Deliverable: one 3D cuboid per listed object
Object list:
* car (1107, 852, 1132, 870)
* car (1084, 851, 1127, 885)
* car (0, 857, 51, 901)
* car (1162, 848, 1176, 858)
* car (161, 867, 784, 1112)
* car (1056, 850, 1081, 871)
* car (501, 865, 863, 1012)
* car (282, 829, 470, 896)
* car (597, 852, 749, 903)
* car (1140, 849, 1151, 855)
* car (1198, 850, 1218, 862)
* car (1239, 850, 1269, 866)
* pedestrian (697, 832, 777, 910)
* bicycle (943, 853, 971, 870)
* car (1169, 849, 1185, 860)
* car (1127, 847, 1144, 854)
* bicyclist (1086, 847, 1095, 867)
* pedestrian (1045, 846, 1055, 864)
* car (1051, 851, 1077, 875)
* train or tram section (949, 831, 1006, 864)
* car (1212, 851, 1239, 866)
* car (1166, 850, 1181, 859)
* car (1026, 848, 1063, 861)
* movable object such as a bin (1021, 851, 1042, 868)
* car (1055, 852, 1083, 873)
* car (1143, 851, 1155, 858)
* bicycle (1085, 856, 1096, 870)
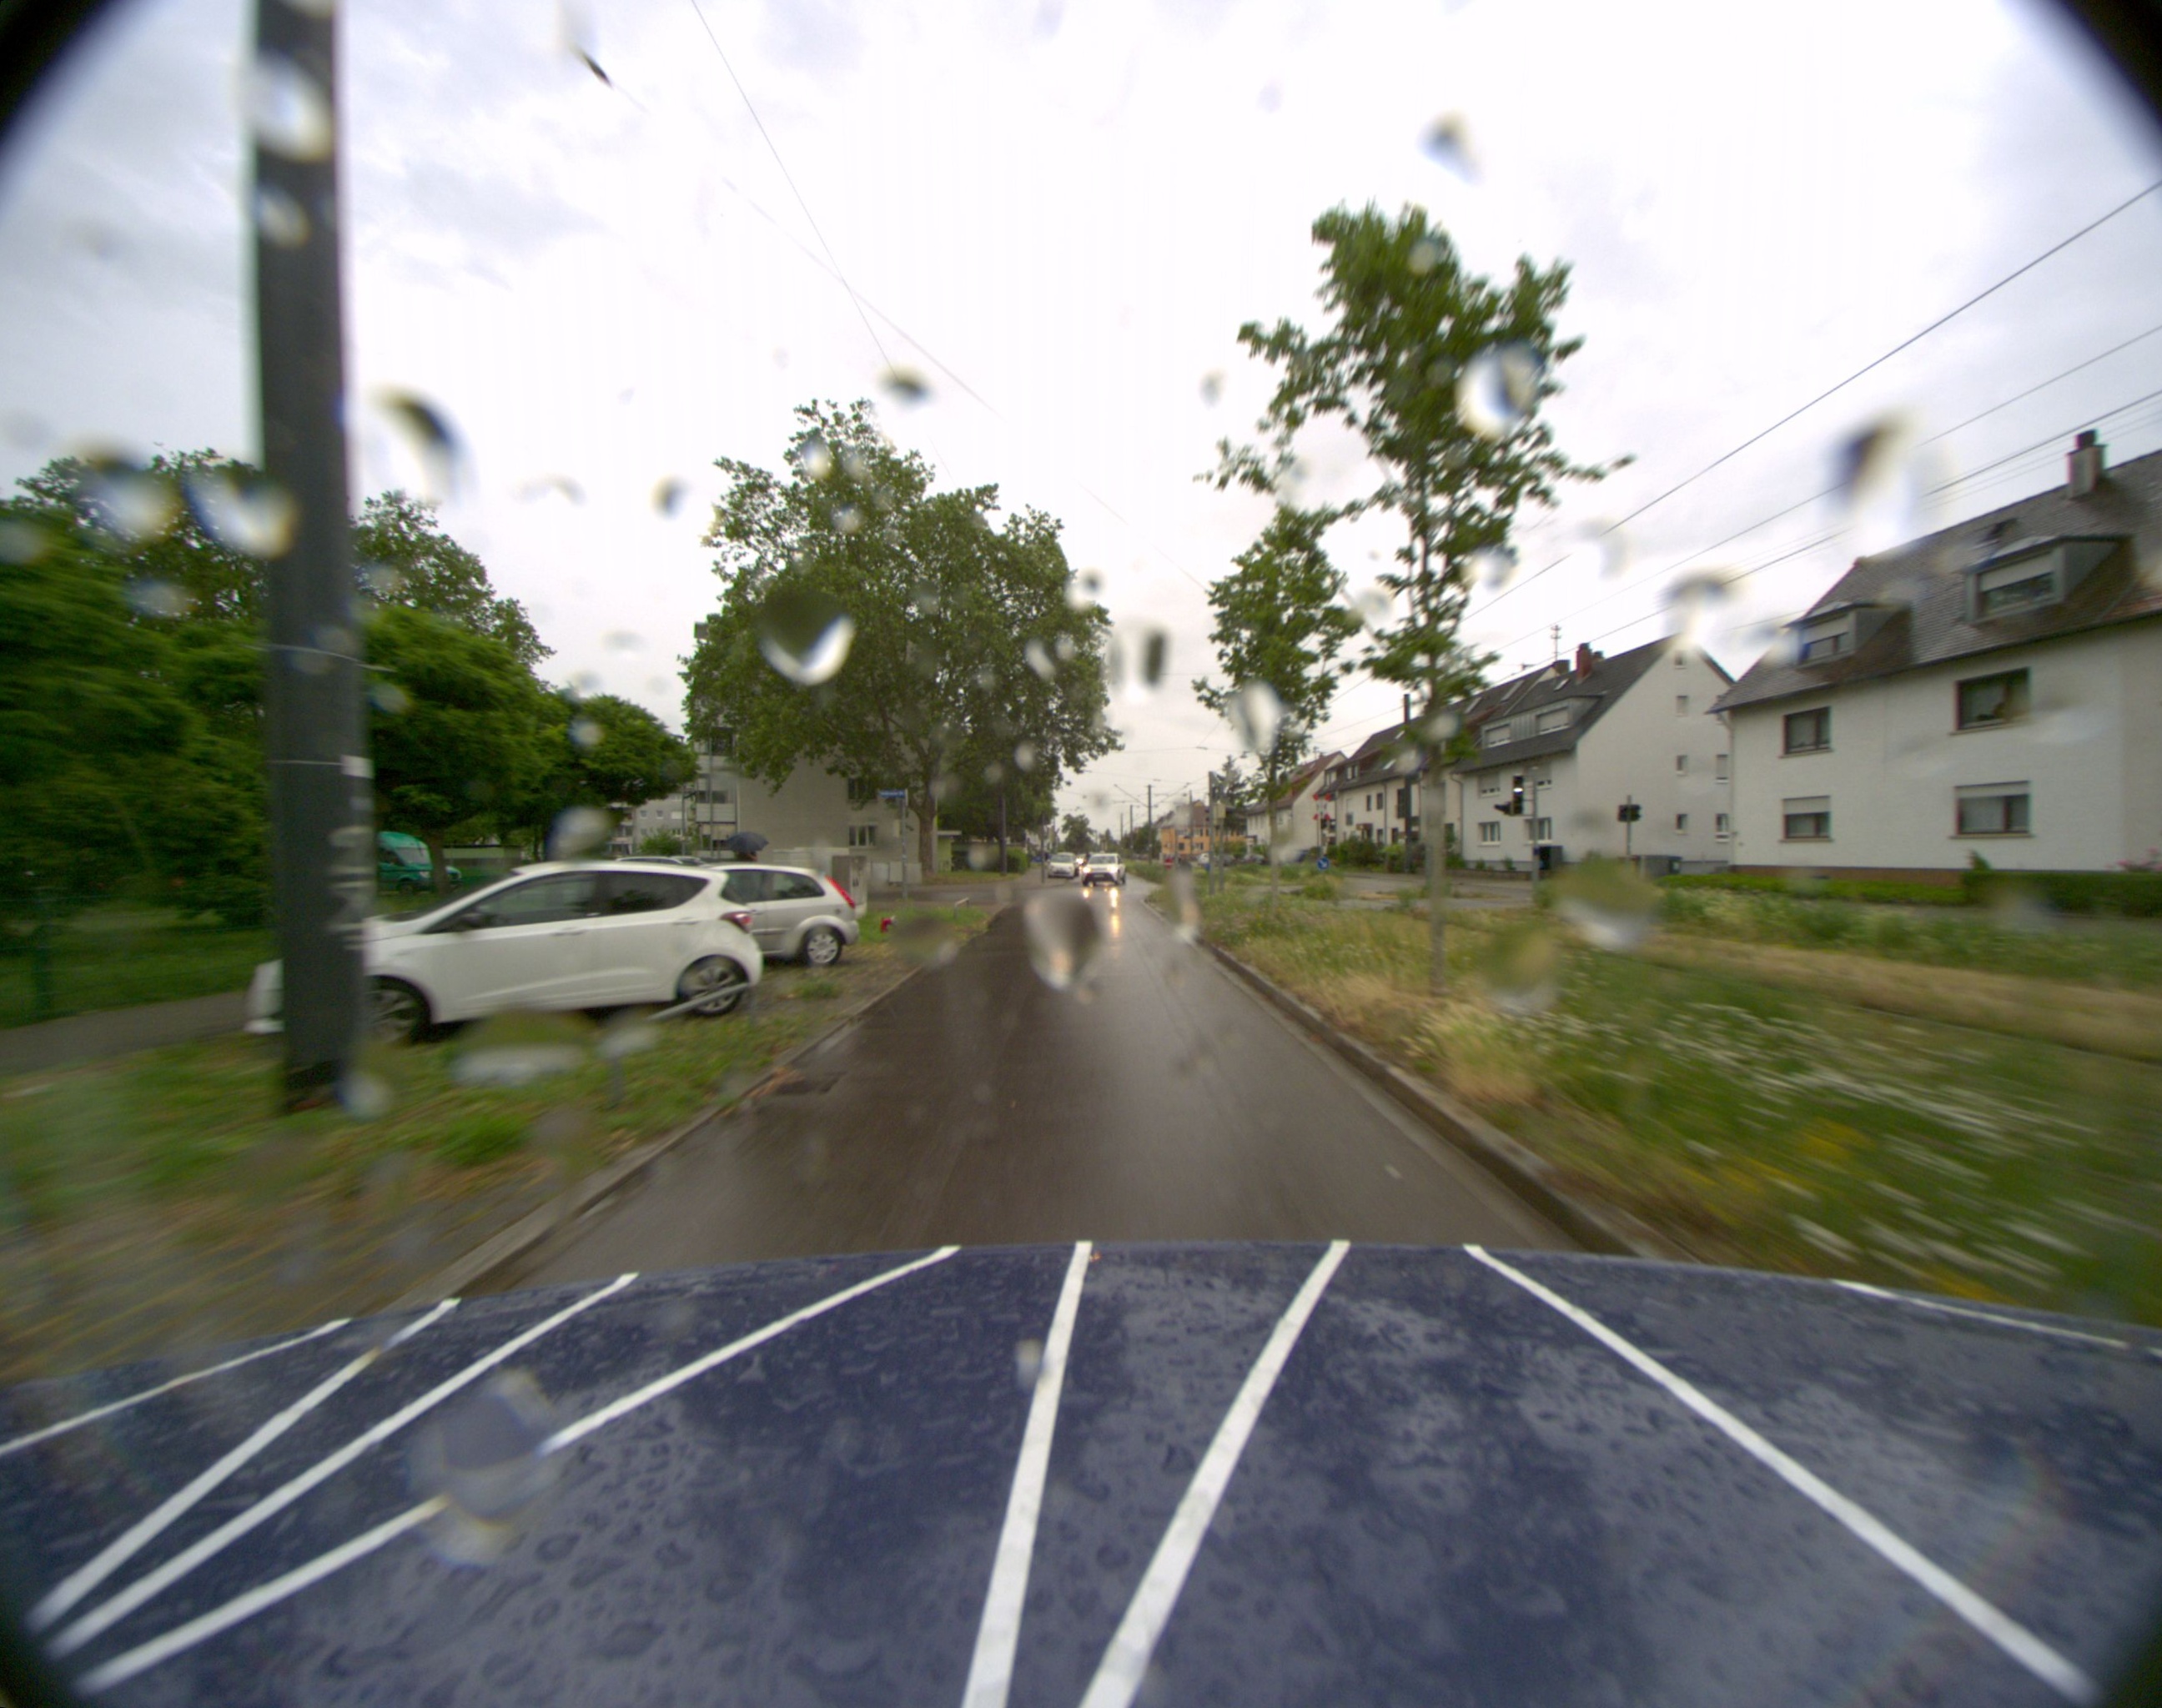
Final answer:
[{"bbox_3d":[3.322,0.599,66.482,1.854,1.500,4.119,0,0,-2],"label":"car"},{"bbox_3d":[1.265,0.645,37.366,1.853,1.500,4.122,-1,0,5],"label":"car"},{"bbox_3d":[-39.569,0.882,26.735,4.304,1.497,1.685,0,1,0],"label":"car"},{"bbox_3d":[15.493,-0.227,133.867,1.998,1.648,4.000,-1,1,1],"label":"car"},{"bbox_3d":[-5.045,0.944,6.963,4.008,1.500,1.700,0,3,-38],"label":"car"},{"bbox_3d":[-0.987,0.490,59.263,1.905,1.566,4.110,0,0,-2],"label":"car"},{"bbox_3d":[-5.209,0.953,10.202,4.007,1.500,1.779,0,3,-35],"label":"car"},{"bbox_3d":[-30.047,0.354,32.500,6.133,2.762,2.187,0,1,3],"label":"car"},{"bbox_3d":[-14.157,0.791,26.547,4.303,1.671,1.871,0,1,3],"label":"car"},{"bbox_3d":[14.134,-0.452,166.820,2.096,1.423,4.076,0,0,-2],"label":"car"},{"bbox_3d":[15.427,0.211,92.575,1.715,1.432,3.999,1,0,-2],"label":"car"},{"bbox_3d":[15.642,0.351,68.787,1.777,1.418,3.937,1,0,0],"label":"car"},{"bbox_3d":[-8.295,0.392,18.395,1.101,1.803,1.435,0,1,11],"label":"pedestrian"},{"bbox_3d":[-8.724,0.522,53.323,1.864,1.135,0.532,-1,0,-25],"label":"bicycle"},{"bbox_3d":[15.161,0.072,120.282,1.912,1.581,3.999,0,0,-1],"label":"car"},{"bbox_3d":[13.231,-0.759,184.961,3.998,1.638,1.893,1,1,-4],"label":"car"},{"bbox_3d":[0.729,0.241,57.882,0.710,1.504,0.715,0,1,-1],"label":"bicyclist"},{"bbox_3d":[-3.136,0.085,75.850,0.865,1.764,1.018,0,1,-9],"label":"pedestrian"},{"bbox_3d":[-1.082,0.543,48.630,1.562,1.510,3.999,0,0,-1],"label":"car"},{"bbox_3d":[-11.067,-0.708,81.174,2.763,3.320,6.382,-1,1,-44],"label":"train or tram section"},{"bbox_3d":[15.445,0.466,81.397,1.892,1.523,4.755,1,0,-2],"label":"car"},{"bbox_3d":[15.158,0.056,124.964,1.881,1.520,3.999,0,0,-1],"label":"car"},{"bbox_3d":[-4.265,0.081,89.635,4.007,1.518,1.715,0,1,-33],"label":"car"},{"bbox_3d":[-4.229,0.472,65.366,1.155,1.432,1.472,0,1,-40],"label":"movable object such as a bin"},{"bbox_3d":[-0.893,0.584,53.639,1.905,1.441,4.183,0,0,-2],"label":"car"},{"bbox_3d":[14.120,0.118,158.102,1.885,1.423,4.076,0,0,-2],"label":"car"},{"bbox_3d":[0.715,0.648,57.824,0.710,1.031,2.098,0,1,-1],"label":"bicycle"}]
